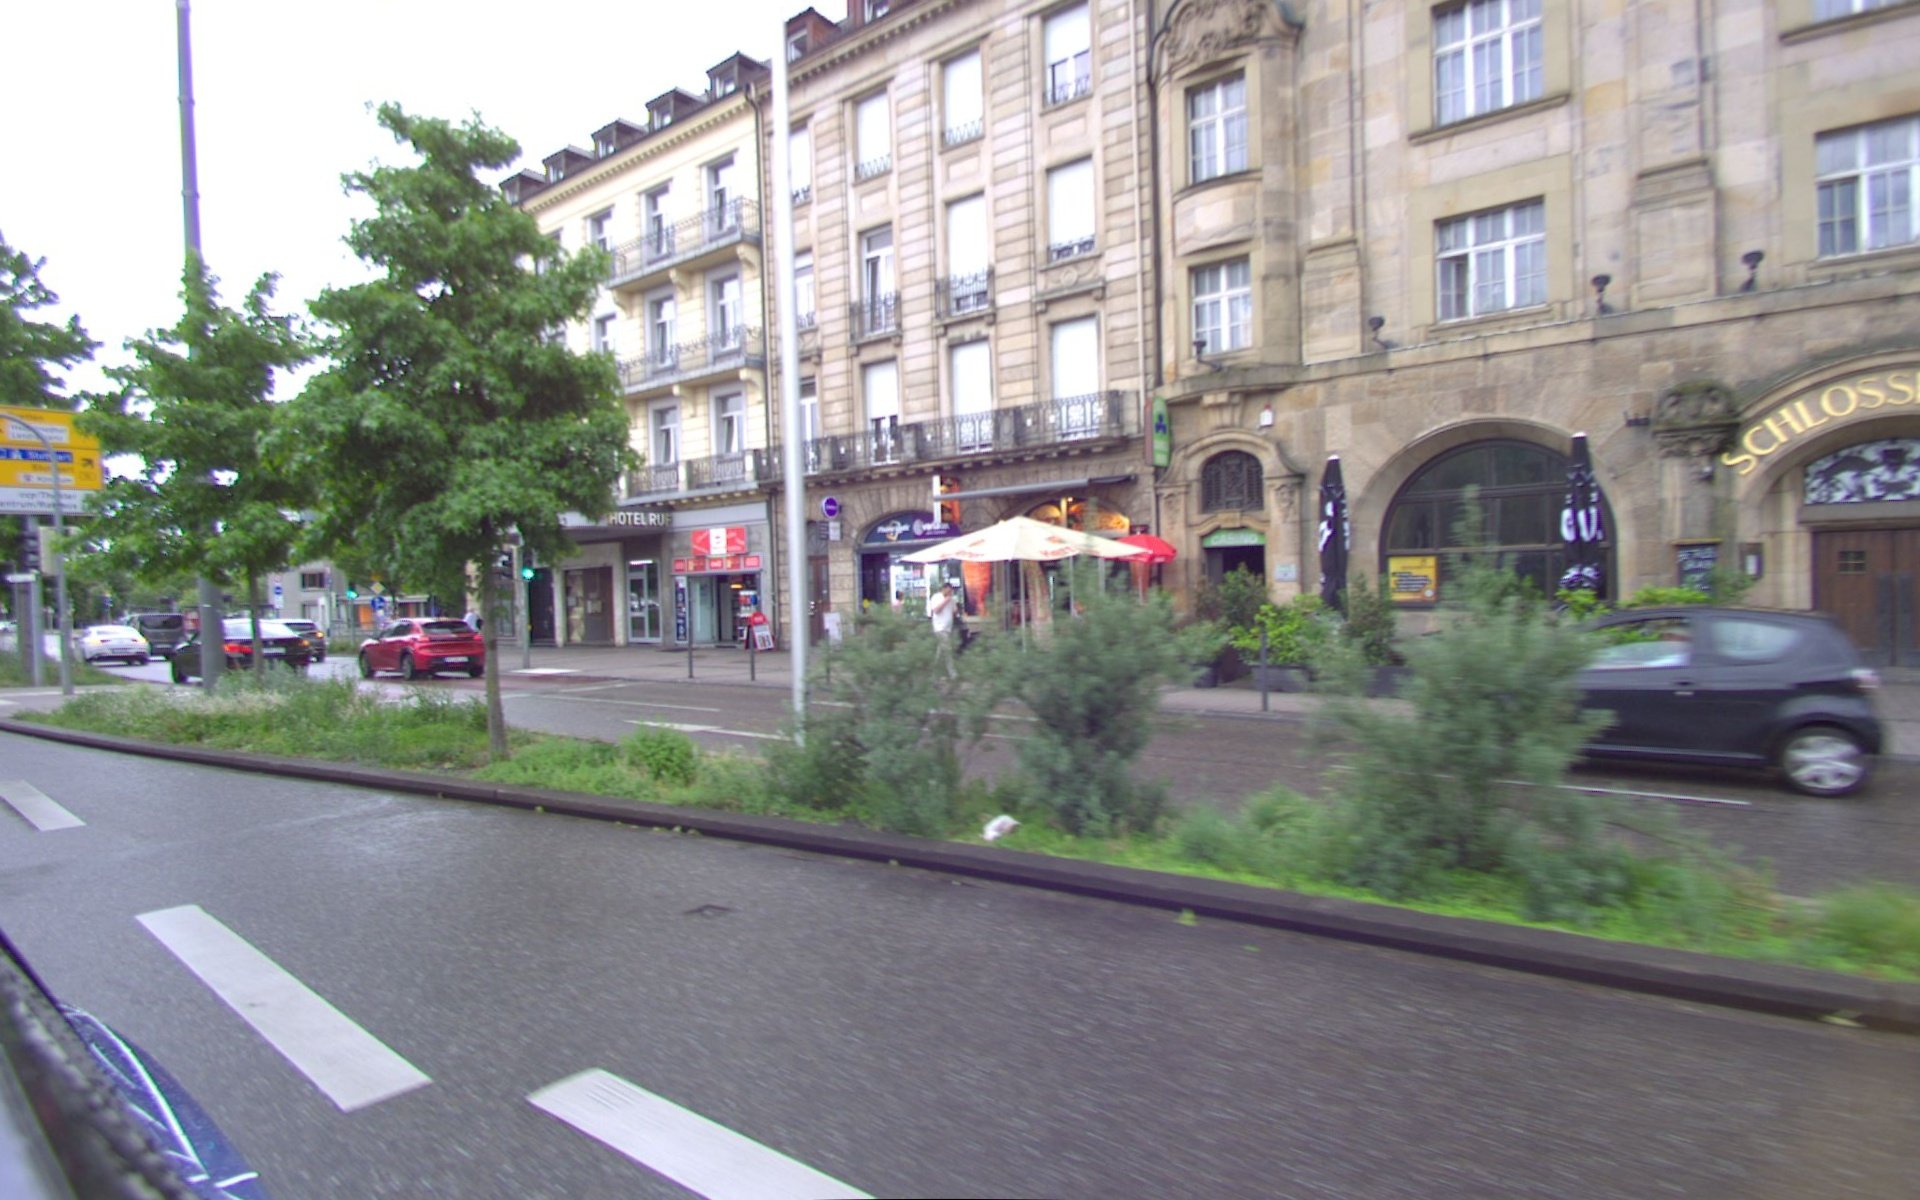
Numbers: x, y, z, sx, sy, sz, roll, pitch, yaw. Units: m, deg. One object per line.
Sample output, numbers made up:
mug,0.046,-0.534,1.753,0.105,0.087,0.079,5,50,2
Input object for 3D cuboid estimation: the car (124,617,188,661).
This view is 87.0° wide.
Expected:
car,-34.432,1.645,43.318,1.791,1.763,3.814,0,-1,-44

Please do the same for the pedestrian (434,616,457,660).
pedestrian,-17.976,1.324,35.349,0.633,1.499,0.748,-2,0,-32

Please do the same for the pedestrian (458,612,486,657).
pedestrian,-17.296,1.209,35.828,0.777,1.550,0.748,-2,0,-32

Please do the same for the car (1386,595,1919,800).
car,5.891,0.711,8.801,3.755,1.443,1.613,-1,-1,37

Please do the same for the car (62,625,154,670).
car,-30.467,1.648,36.156,4.370,1.475,1.823,-1,-1,40

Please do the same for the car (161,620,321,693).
car,-16.633,1.216,23.313,5.026,1.475,1.823,-1,-1,40

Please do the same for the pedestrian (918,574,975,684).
pedestrian,-0.238,0.514,18.335,0.765,1.924,0.670,-1,-1,41

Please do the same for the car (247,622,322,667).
car,-24.684,1.564,36.918,1.741,1.519,3.847,0,-1,-42

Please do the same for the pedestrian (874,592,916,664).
pedestrian,-1.544,0.650,24.129,0.677,1.683,0.757,0,0,34

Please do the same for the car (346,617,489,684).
car,-13.108,1.156,24.366,3.911,1.456,1.661,-1,0,39
